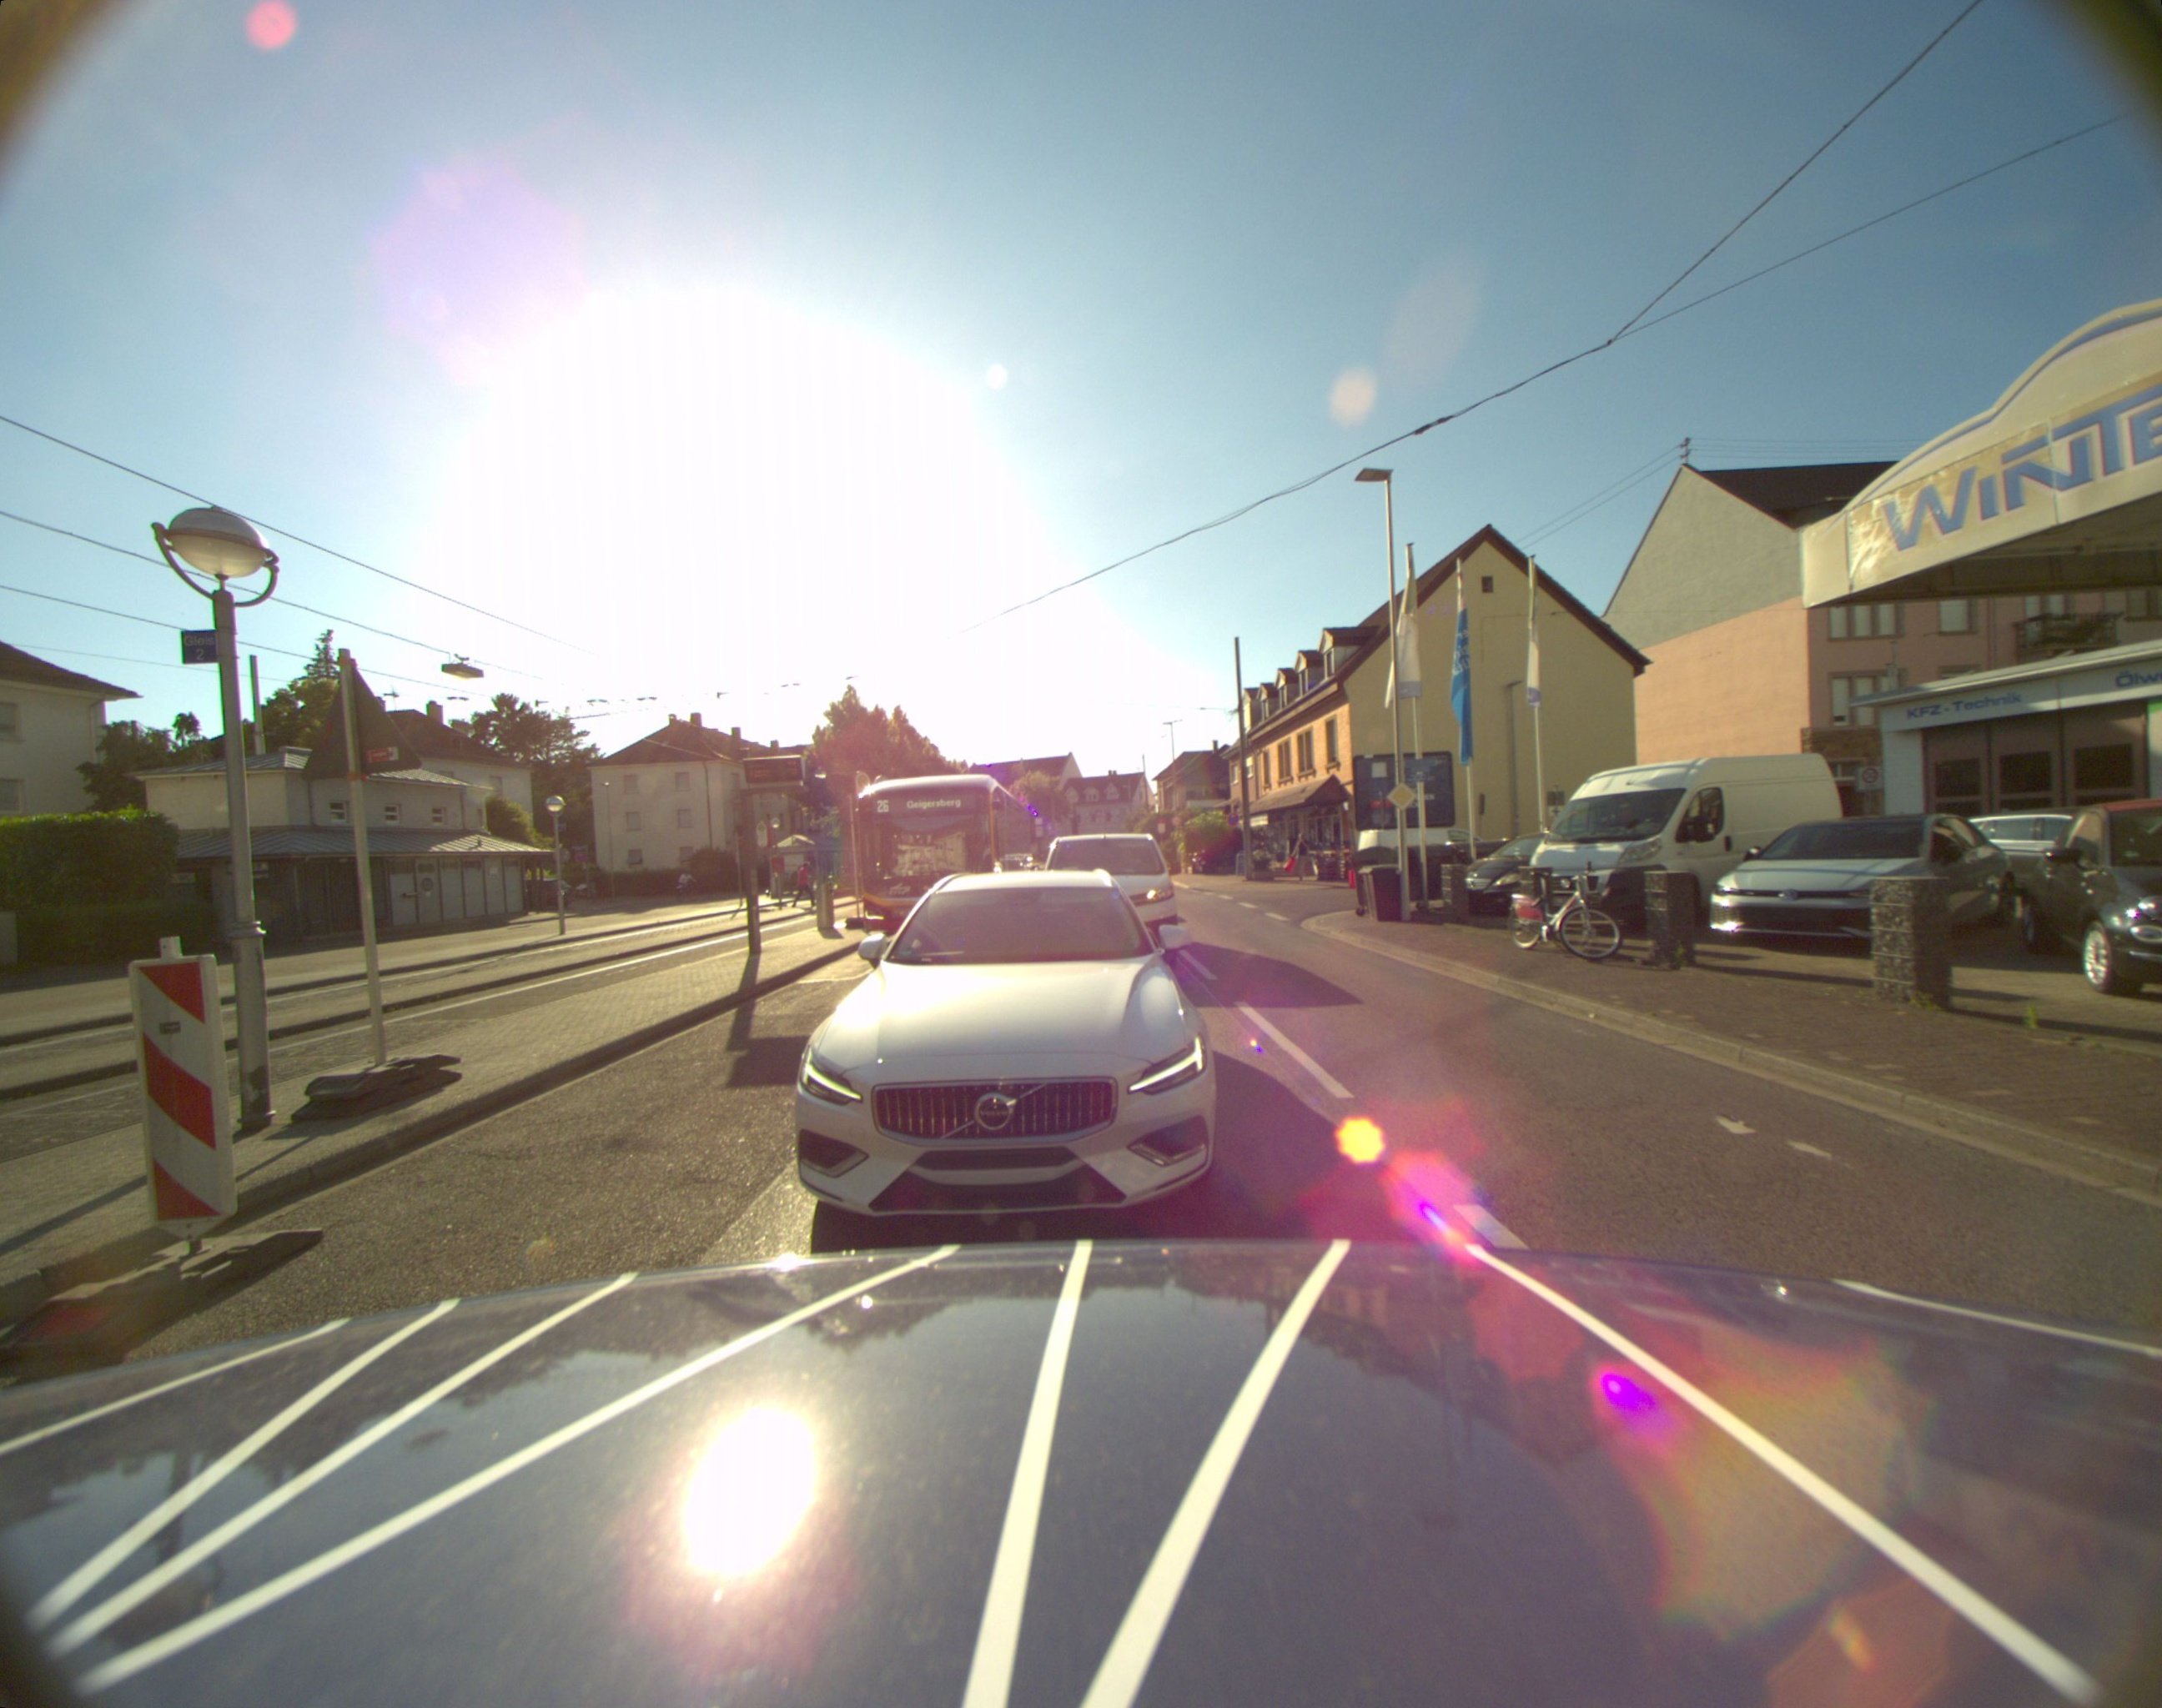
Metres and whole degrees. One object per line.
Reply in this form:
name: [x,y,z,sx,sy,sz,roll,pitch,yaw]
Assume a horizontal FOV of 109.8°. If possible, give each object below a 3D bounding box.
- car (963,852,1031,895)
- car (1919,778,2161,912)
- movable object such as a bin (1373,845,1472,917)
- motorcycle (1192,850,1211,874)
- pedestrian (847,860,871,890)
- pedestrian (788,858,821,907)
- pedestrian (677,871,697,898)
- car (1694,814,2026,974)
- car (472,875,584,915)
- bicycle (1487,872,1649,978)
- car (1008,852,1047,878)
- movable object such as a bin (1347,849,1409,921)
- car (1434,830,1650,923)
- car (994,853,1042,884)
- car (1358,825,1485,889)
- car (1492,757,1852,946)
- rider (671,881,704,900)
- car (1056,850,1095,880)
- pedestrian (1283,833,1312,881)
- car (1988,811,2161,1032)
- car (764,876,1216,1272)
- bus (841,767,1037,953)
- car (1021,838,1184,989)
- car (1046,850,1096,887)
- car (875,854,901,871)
car: [-3.149,0.703,29.504,1.969,1.450,4.824,-2,0,1]
car: [16.483,-0.176,11.992,1.742,1.933,4.257,-3,1,-1]
movable object such as a bin: [7.596,0.575,16.918,1.798,1.456,1.046,-3,1,-25]
motorcycle: [6.355,0.414,40.124,0.708,1.210,2.186,-2,1,3]
pedestrian: [-12.344,1.148,42.265,0.841,1.601,0.826,-2,1,19]
pedestrian: [-10.157,1.037,27.896,0.842,1.708,0.825,-2,1,-1]
pedestrian: [-20.602,1.585,39.745,0.657,1.373,0.581,-2,1,29]
car: [9.493,0.356,9.215,4.036,1.488,1.739,-3,1,-28]
car: [-27.685,2.046,38.142,4.052,1.663,2.000,-4,1,2]
bicycle: [5.884,0.811,9.317,0.725,1.080,1.791,-3,1,-3]
car: [-3.269,0.628,47.307,1.969,1.450,4.824,-2,0,1]
movable object such as a bin: [6.238,0.638,15.954,1.045,1.456,0.797,-2,1,32]
car: [8.970,0.371,14.751,4.036,1.469,1.739,-3,1,-28]
car: [-3.227,0.703,39.893,1.969,1.450,4.824,-2,0,1]
car: [11.567,0.094,25.926,3.672,2.002,1.451,-2,1,-3]
car: [9.146,-0.137,11.764,4.997,2.440,2.111,-3,1,-22]
rider: [-20.596,1.910,39.761,1.853,0.986,0.581,-2,1,29]
car: [-0.250,0.564,41.512,1.969,1.450,4.824,-2,0,1]
pedestrian: [8.576,0.124,30.118,0.823,1.842,0.766,-2,1,-11]
car: [9.079,0.409,6.169,1.590,1.488,3.442,-2,1,40]
car: [-0.350,0.979,5.260,1.821,1.446,4.217,-2,0,1]
bus: [-2.917,0.092,19.837,2.748,3.284,12.030,-2,0,0]
car: [0.306,0.731,12.014,1.969,1.816,5.033,-2,0,1]
car: [-0.389,0.580,33.265,1.969,1.450,4.824,-2,0,1]
car: [-23.259,1.016,91.776,1.998,1.853,3.999,-2,1,1]
